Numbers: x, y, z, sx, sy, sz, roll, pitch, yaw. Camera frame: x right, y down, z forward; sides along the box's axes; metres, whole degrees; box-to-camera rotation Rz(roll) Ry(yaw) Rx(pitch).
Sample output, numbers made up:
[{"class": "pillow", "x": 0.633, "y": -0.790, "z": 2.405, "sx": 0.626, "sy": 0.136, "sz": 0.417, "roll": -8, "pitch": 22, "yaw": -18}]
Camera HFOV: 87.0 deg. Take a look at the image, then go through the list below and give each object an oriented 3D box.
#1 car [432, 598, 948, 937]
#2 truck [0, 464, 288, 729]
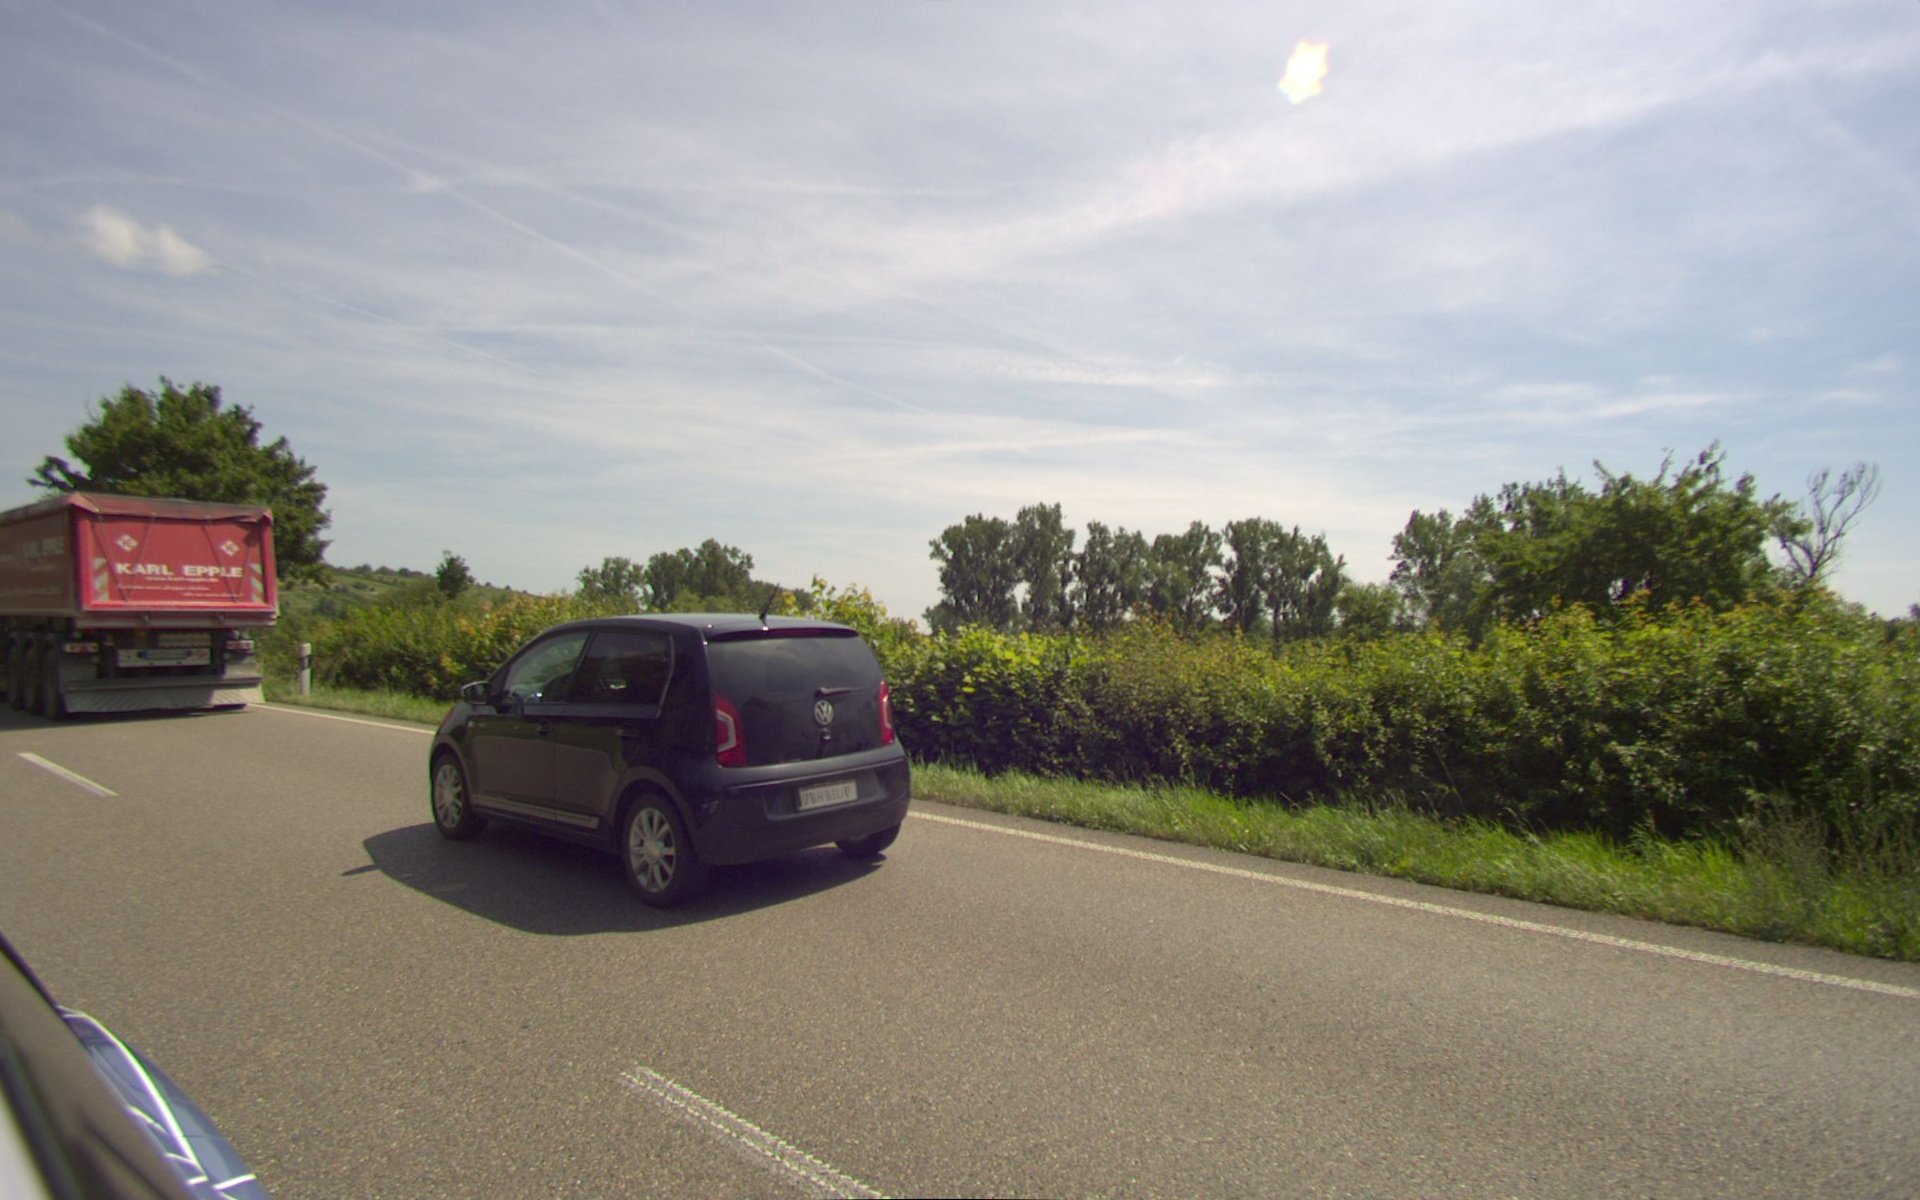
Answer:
[{"class": "car", "x": -1.753, "y": 0.765, "z": 6.059, "sx": 3.270, "sy": 1.482, "sz": 1.414, "roll": -1, "pitch": -1, "yaw": 41}, {"class": "truck", "x": -15.893, "y": 0.049, "z": 18.150, "sx": 12.616, "sy": 3.479, "sz": 2.528, "roll": -1, "pitch": -1, "yaw": 38}]
